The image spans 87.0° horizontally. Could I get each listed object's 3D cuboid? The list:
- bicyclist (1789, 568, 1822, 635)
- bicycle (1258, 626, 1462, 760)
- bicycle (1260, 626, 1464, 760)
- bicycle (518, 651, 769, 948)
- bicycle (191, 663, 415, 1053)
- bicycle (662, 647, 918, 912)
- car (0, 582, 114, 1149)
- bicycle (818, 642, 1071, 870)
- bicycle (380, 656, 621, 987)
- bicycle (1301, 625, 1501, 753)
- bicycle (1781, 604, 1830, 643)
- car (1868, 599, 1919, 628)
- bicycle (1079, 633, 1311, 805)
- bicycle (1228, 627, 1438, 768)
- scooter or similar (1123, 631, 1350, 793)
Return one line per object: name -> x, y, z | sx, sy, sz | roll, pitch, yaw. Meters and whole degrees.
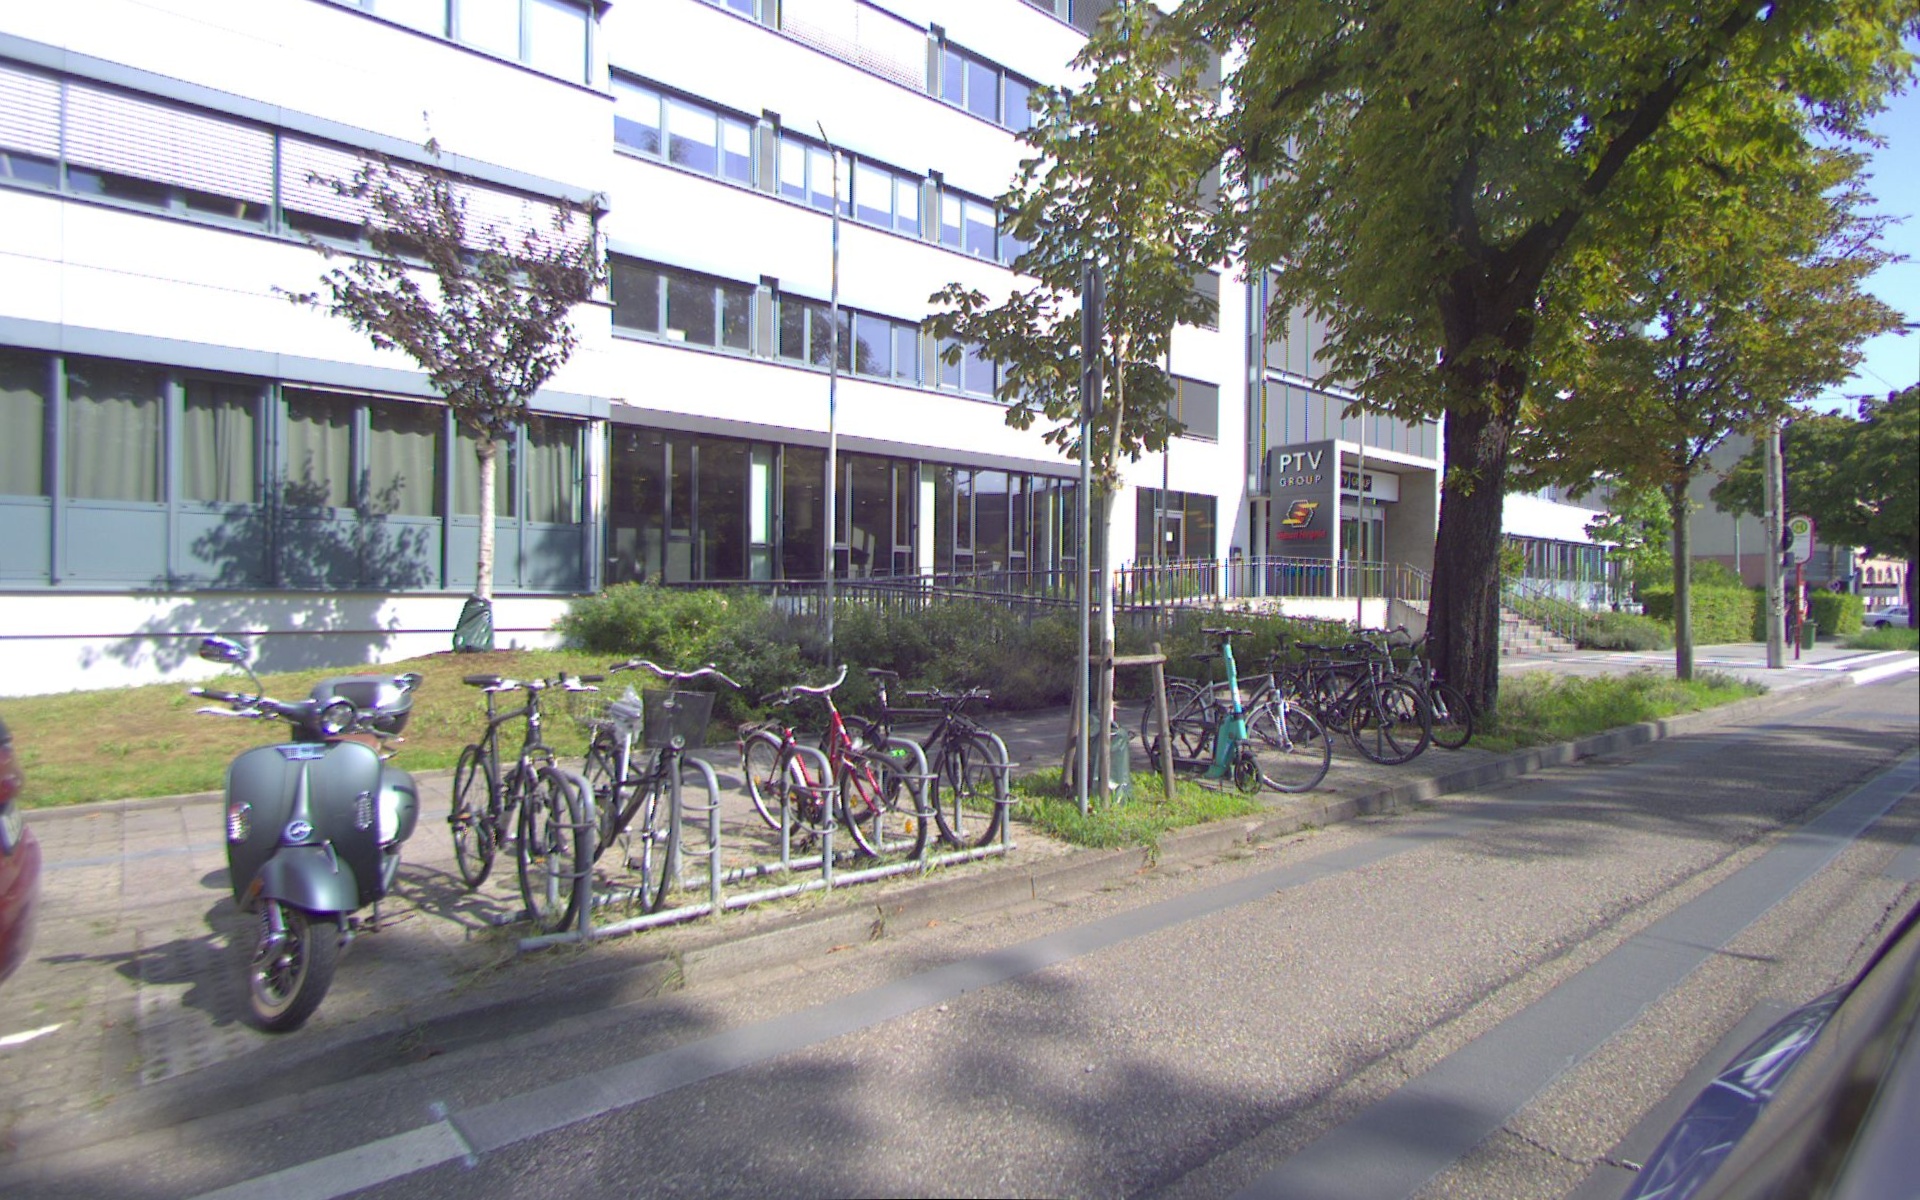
bicyclist -> 26.406, 0.035, 31.597 | 0.780, 2.039, 1.255 | 0, 0, 41
bicycle -> 3.784, 0.835, 9.706 | 0.531, 1.085, 1.775 | 0, 1, -40
bicycle -> 3.807, 0.835, 9.712 | 0.531, 1.085, 1.775 | 0, 1, -40
bicycle -> -1.626, 0.863, 5.003 | 0.531, 1.085, 1.775 | 0, 1, -40
bicycle -> -2.690, 0.869, 4.057 | 0.531, 1.085, 1.775 | 0, 1, -40
bicycle -> -0.985, 0.860, 5.478 | 0.531, 1.085, 1.775 | 0, 1, -40
car -> -4.531, 0.692, 2.127 | 4.199, 1.480, 1.759 | 0, 1, -40
bicycle -> -0.159, 0.856, 6.177 | 0.531, 1.085, 1.775 | 0, 1, -40
bicycle -> -2.148, 0.866, 4.596 | 0.531, 1.085, 1.775 | 0, 1, -40
bicycle -> 4.359, 0.833, 10.116 | 0.531, 1.085, 1.775 | 0, 1, -40
bicycle -> 26.481, 0.711, 31.677 | 1.134, 1.139, 2.499 | 0, 0, 41
car -> 51.071, 0.717, 53.432 | 1.929, 1.534, 4.542 | 0, 0, -44
bicycle -> 1.762, 0.846, 7.835 | 0.531, 1.085, 1.775 | 0, 1, -40
bicycle -> 3.377, 0.838, 9.306 | 0.531, 1.085, 1.775 | 0, 1, -40
scooter or similar -> 2.190, 0.844, 8.224 | 0.531, 1.085, 1.775 | 0, 1, -40
